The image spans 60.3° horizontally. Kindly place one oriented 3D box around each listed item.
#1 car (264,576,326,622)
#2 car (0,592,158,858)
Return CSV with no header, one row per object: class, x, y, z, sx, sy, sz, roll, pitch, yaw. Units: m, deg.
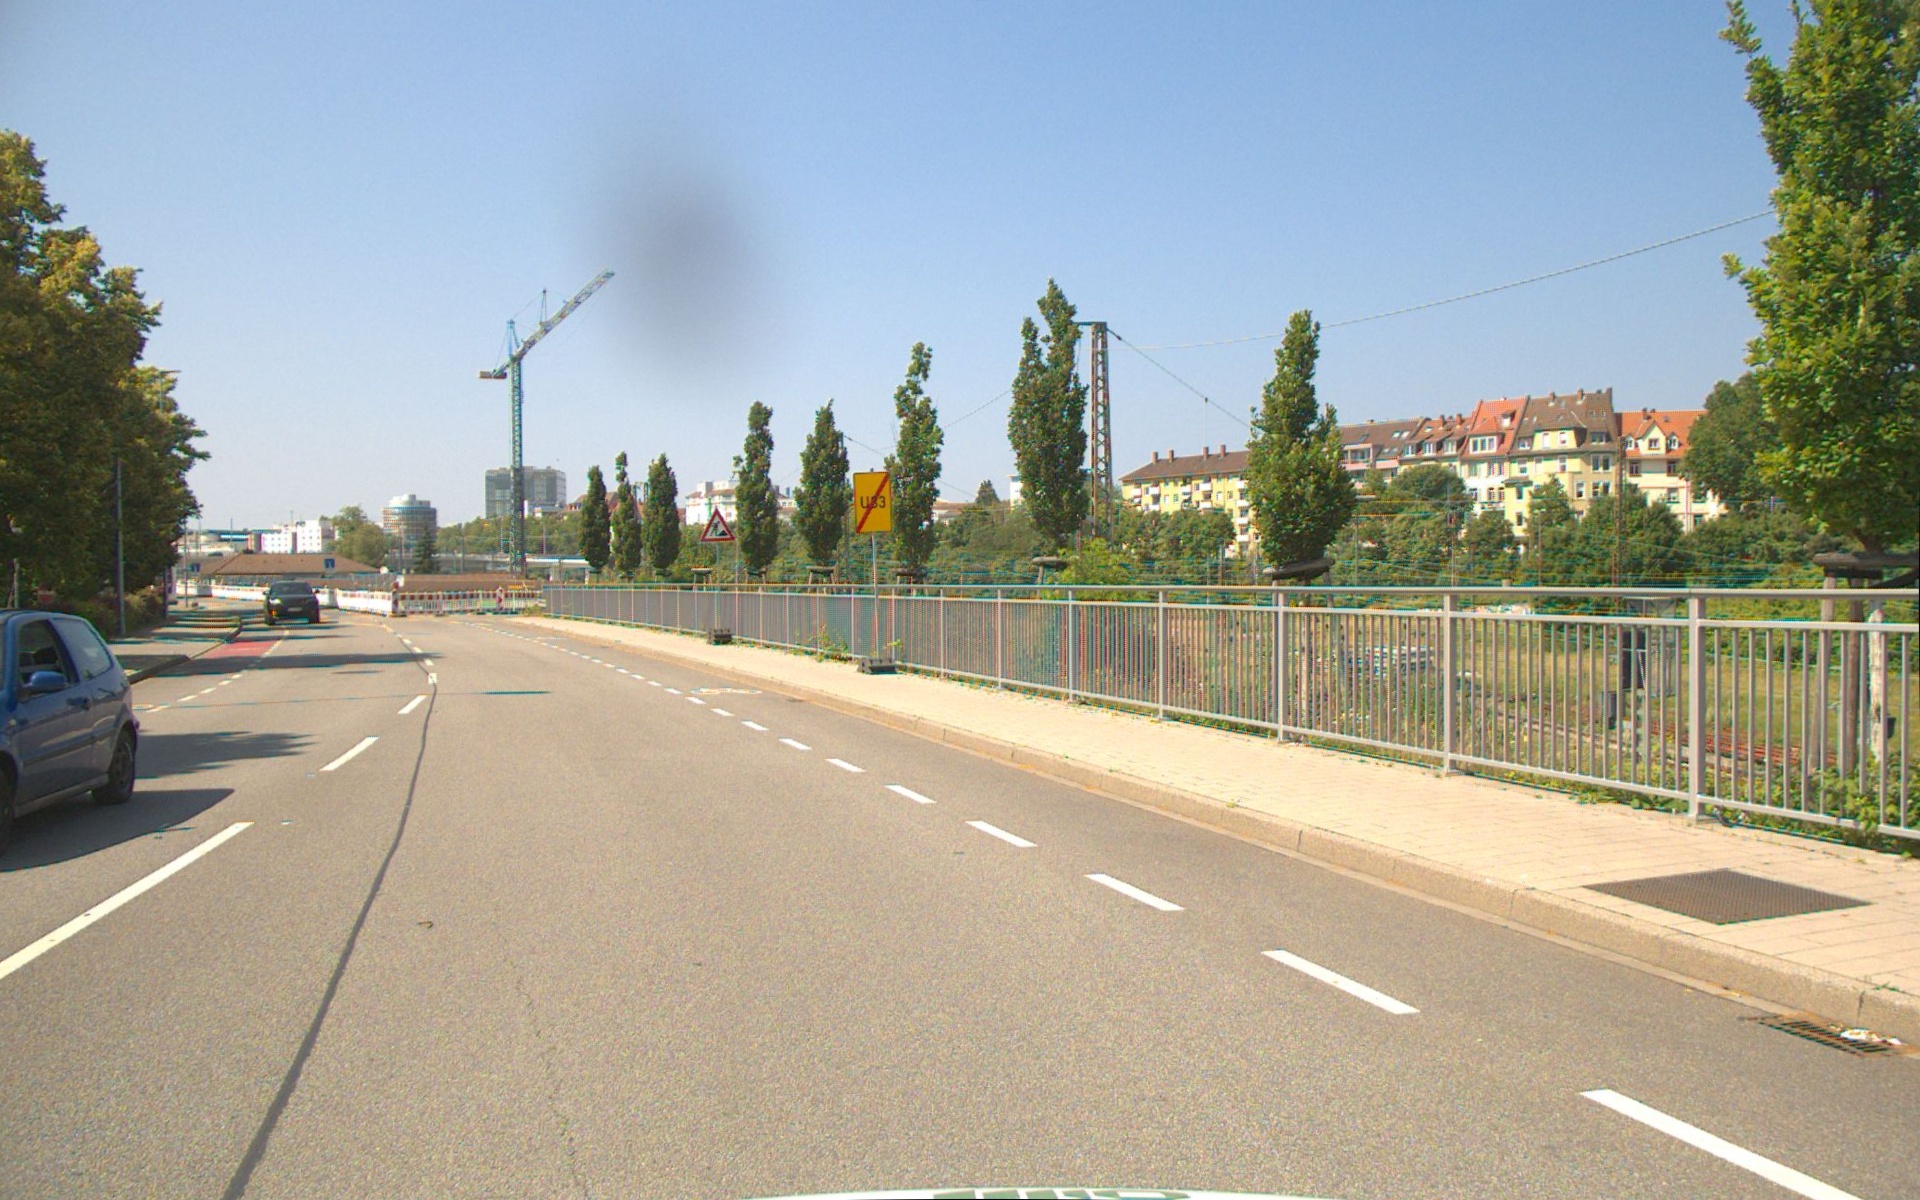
car,-26.397,-0.084,65.549,1.926,1.724,4.574,-2,1,-26
car,-6.340,0.699,10.154,1.627,1.405,3.988,-1,1,-12
